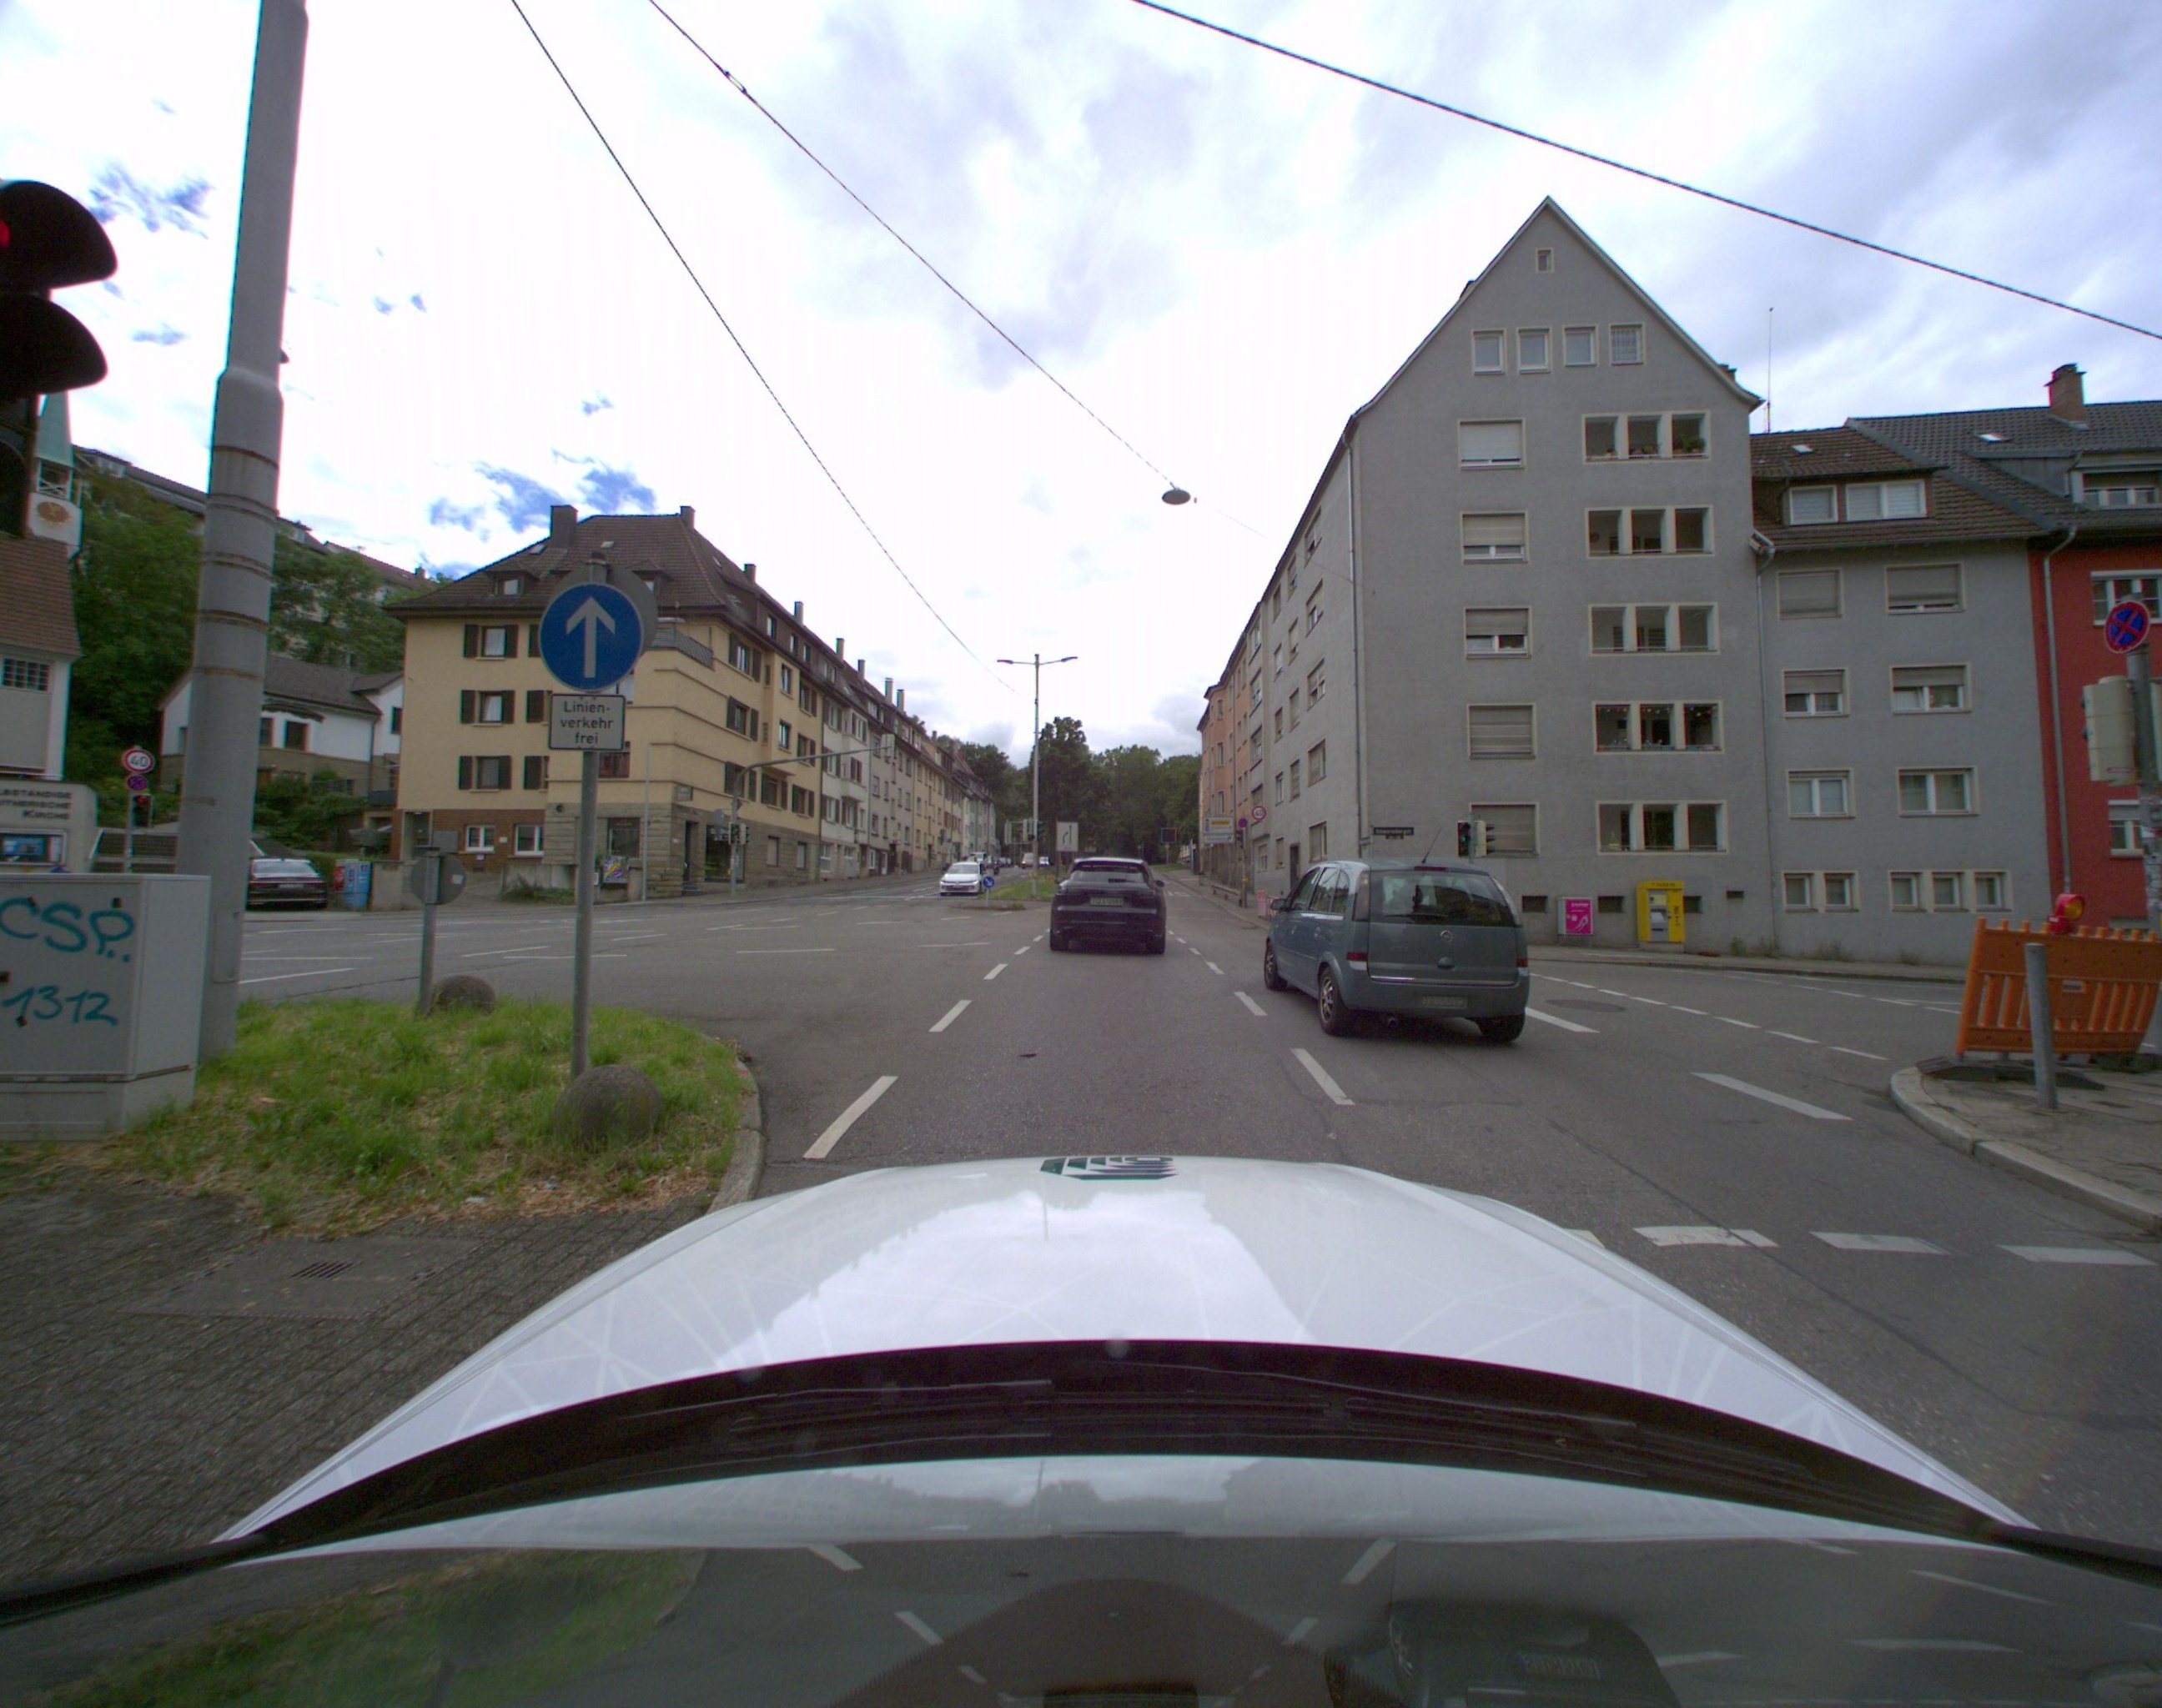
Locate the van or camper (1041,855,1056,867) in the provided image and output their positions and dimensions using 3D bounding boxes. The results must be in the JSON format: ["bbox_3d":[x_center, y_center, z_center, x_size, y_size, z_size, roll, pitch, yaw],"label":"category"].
[{"bbox_3d":[-4.933,1.131,124.205,1.900,1.761,4.658,1,0,3],"label":"van or camper"}]

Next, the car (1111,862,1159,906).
[{"bbox_3d":[2.289,1.225,34.508,1.926,1.653,4.004,-1,0,4],"label":"car"}]

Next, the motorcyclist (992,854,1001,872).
[{"bbox_3d":[-6.987,0.762,67.435,0.669,1.475,0.663,1,-1,3],"label":"motorcyclist"}]

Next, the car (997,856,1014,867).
[{"bbox_3d":[-10.234,1.004,111.166,1.988,1.423,4.209,0,-1,-1],"label":"car"}]

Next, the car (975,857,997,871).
[{"bbox_3d":[-11.238,1.175,97.082,1.986,1.552,4.383,0,-1,1],"label":"car"}]

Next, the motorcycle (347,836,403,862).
[{"bbox_3d":[-31.462,-0.205,36.331,0.556,1.134,2.048,2,-1,4],"label":"motorcycle"}]

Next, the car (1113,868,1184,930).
[{"bbox_3d":[1.995,1.259,24.301,1.926,1.653,4.004,-1,-1,4],"label":"car"}]

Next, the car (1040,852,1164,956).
[{"bbox_3d":[0.472,0.844,15.126,1.985,1.653,4.004,-1,-1,4],"label":"car"}]

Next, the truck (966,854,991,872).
[{"bbox_3d":[-11.486,0.998,91.470,1.986,1.920,5.349,0,-1,2],"label":"truck"}]

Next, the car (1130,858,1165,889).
[{"bbox_3d":[3.888,1.115,48.023,1.926,1.653,4.004,-1,0,4],"label":"car"}]

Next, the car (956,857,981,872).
[{"bbox_3d":[-11.797,1.059,85.521,1.986,1.552,4.159,0,-1,1],"label":"car"}]

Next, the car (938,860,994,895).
[{"bbox_3d":[-5.158,1.032,37.055,1.739,1.467,4.587,0,0,2],"label":"car"}]

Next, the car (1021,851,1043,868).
[{"bbox_3d":[-5.557,0.641,92.584,1.871,1.816,4.355,1,0,3],"label":"car"}]

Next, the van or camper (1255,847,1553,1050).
[{"bbox_3d":[3.036,0.804,8.486,1.728,1.578,3.647,2,-1,2],"label":"van or camper"}]

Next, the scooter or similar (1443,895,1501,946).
[{"bbox_3d":[10.145,1.707,21.138,1.240,1.216,0.605,1,-2,38],"label":"scooter or similar"}]

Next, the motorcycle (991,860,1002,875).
[{"bbox_3d":[-6.993,1.138,67.388,0.542,1.185,2.207,1,-1,4],"label":"motorcycle"}]

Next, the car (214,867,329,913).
[{"bbox_3d":[-24.453,1.056,24.579,3.949,1.189,1.847,1,-1,37],"label":"car"}]
